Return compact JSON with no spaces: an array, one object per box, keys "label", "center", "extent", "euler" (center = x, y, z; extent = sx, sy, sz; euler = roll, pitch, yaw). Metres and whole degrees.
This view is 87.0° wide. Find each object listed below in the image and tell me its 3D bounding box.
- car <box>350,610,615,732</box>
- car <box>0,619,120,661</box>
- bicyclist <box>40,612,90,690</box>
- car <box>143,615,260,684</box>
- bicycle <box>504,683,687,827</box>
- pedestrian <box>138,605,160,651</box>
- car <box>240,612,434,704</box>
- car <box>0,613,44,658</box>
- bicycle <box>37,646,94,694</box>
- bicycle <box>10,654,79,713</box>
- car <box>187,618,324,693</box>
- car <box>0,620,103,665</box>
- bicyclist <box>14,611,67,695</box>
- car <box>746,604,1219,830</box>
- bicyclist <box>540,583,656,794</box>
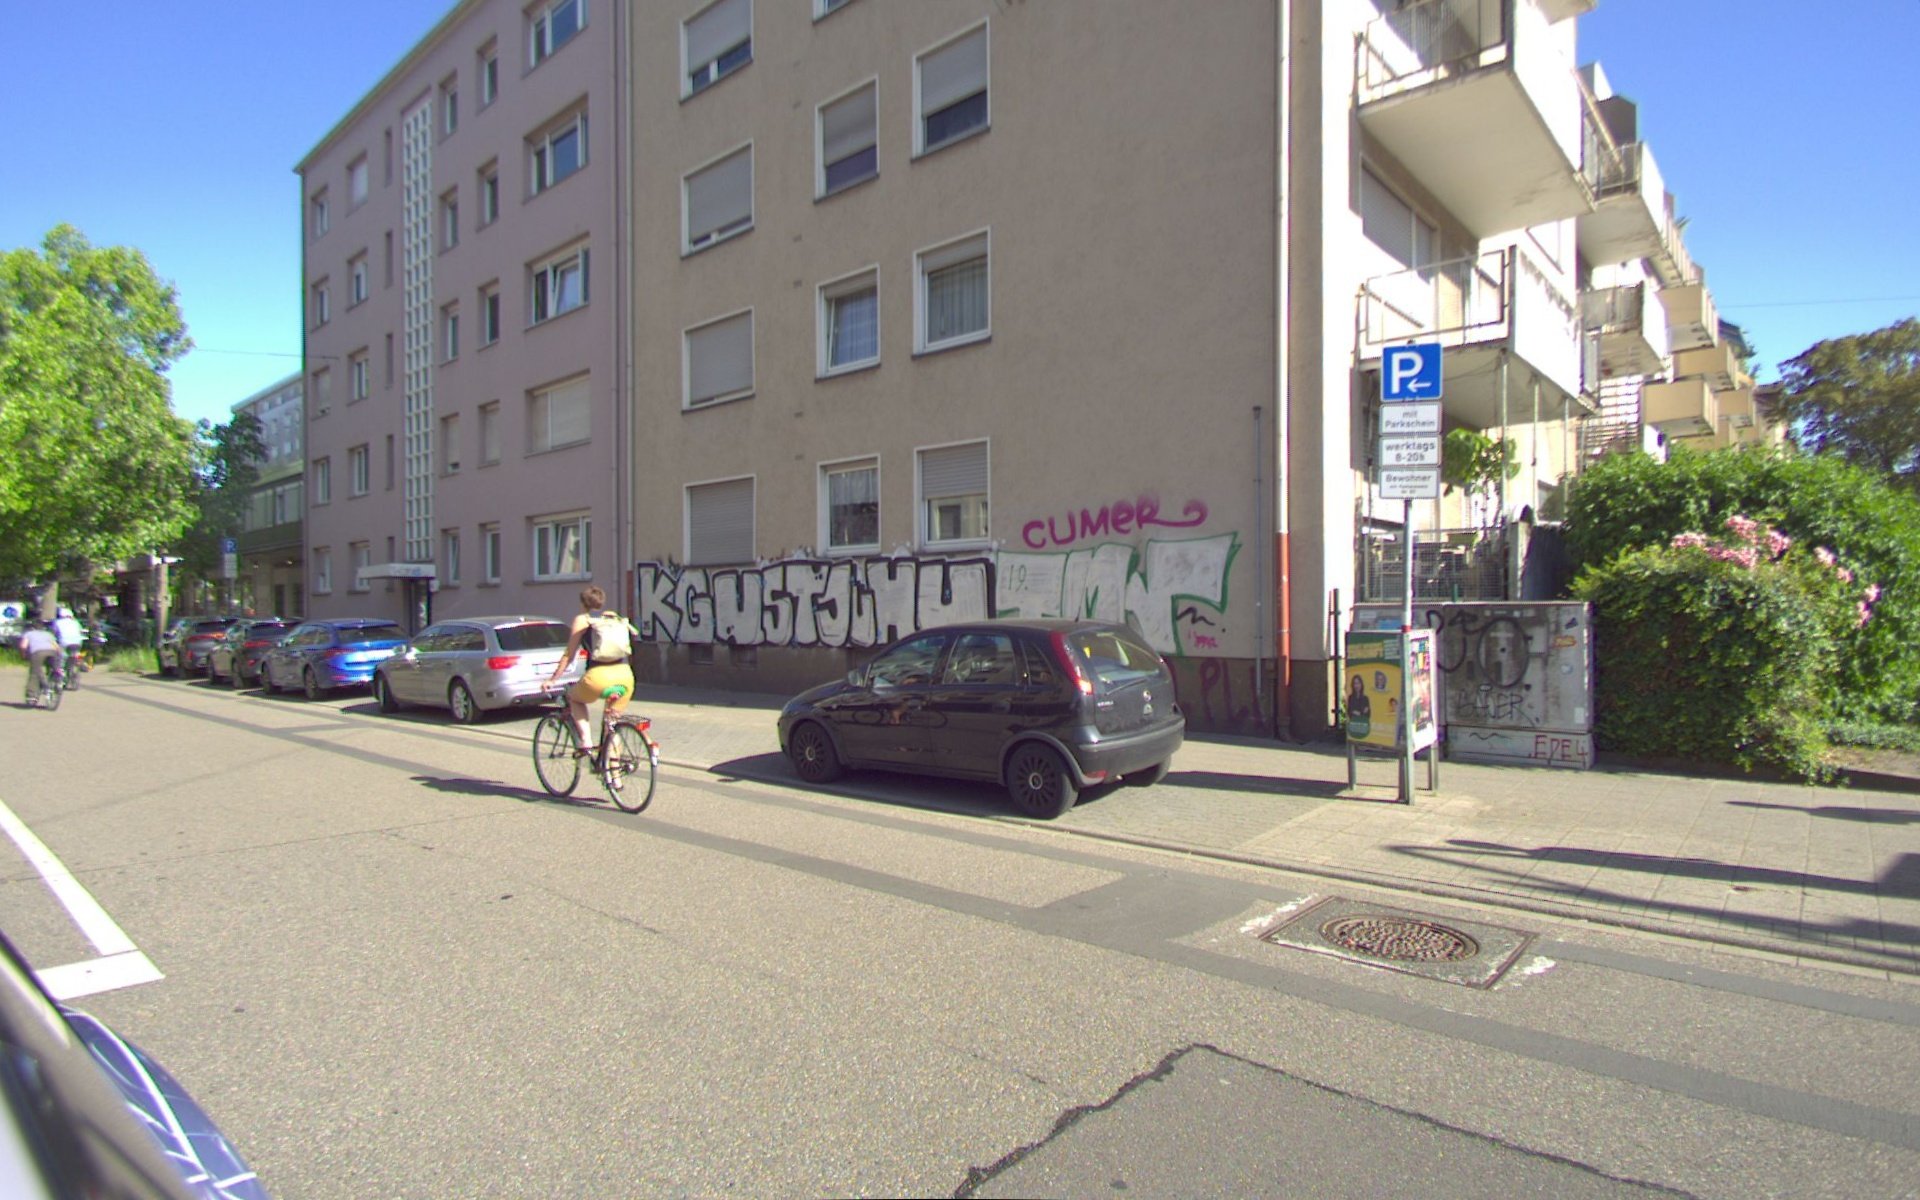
[{"label":"car","center":[-7.396,0.978,15.451],"extent":[4.798,1.514,1.805],"euler":[-1,1,40]},{"label":"car","center":[-36.553,1.568,40.826],"extent":[1.913,1.564,3.943],"euler":[-2,-1,43]},{"label":"bicyclist","center":[-19.396,1.090,21.930],"extent":[0.898,1.643,0.672],"euler":[-2,-3,42]},{"label":"car","center":[-20.047,1.252,26.684],"extent":[4.157,1.588,1.704],"euler":[-1,1,43]},{"label":"bicycle","center":[-2.883,1.150,7.905],"extent":[1.825,0.909,0.537],"euler":[-2,-1,42]},{"label":"pedestrian","center":[-32.388,1.112,40.407],"extent":[0.502,1.820,0.615],"euler":[-2,-1,42]},{"label":"car","center":[-12.290,1.072,19.842],"extent":[4.798,1.514,1.805],"euler":[-1,1,40]},{"label":"car","center":[-45.354,1.667,47.182],"extent":[1.913,2.058,3.824],"euler":[-2,-1,43]},{"label":"bicycle","center":[-19.326,1.490,21.847],"extent":[1.933,0.959,0.672],"euler":[-1,-3,42]},{"label":"bicycle","center":[-15.625,1.400,17.254],"extent":[1.823,0.909,0.538],"euler":[-1,-1,37]},{"label":"car","center":[-16.115,1.195,23.072],"extent":[4.157,1.478,1.704],"euler":[-1,1,43]},{"label":"car","center":[-34.676,1.569,37.761],"extent":[1.913,1.564,3.943],"euler":[-2,-1,43]},{"label":"bicyclist","center":[-15.779,0.898,17.368],"extent":[0.787,1.402,0.538],"euler":[-1,-1,36]},{"label":"car","center":[0.059,0.829,8.722],"extent":[3.853,1.459,1.674],"euler":[-1,1,40]},{"label":"bicyclist","center":[-2.808,0.650,7.833],"extent":[0.774,1.532,0.537],"euler":[-2,-1,42]}]
